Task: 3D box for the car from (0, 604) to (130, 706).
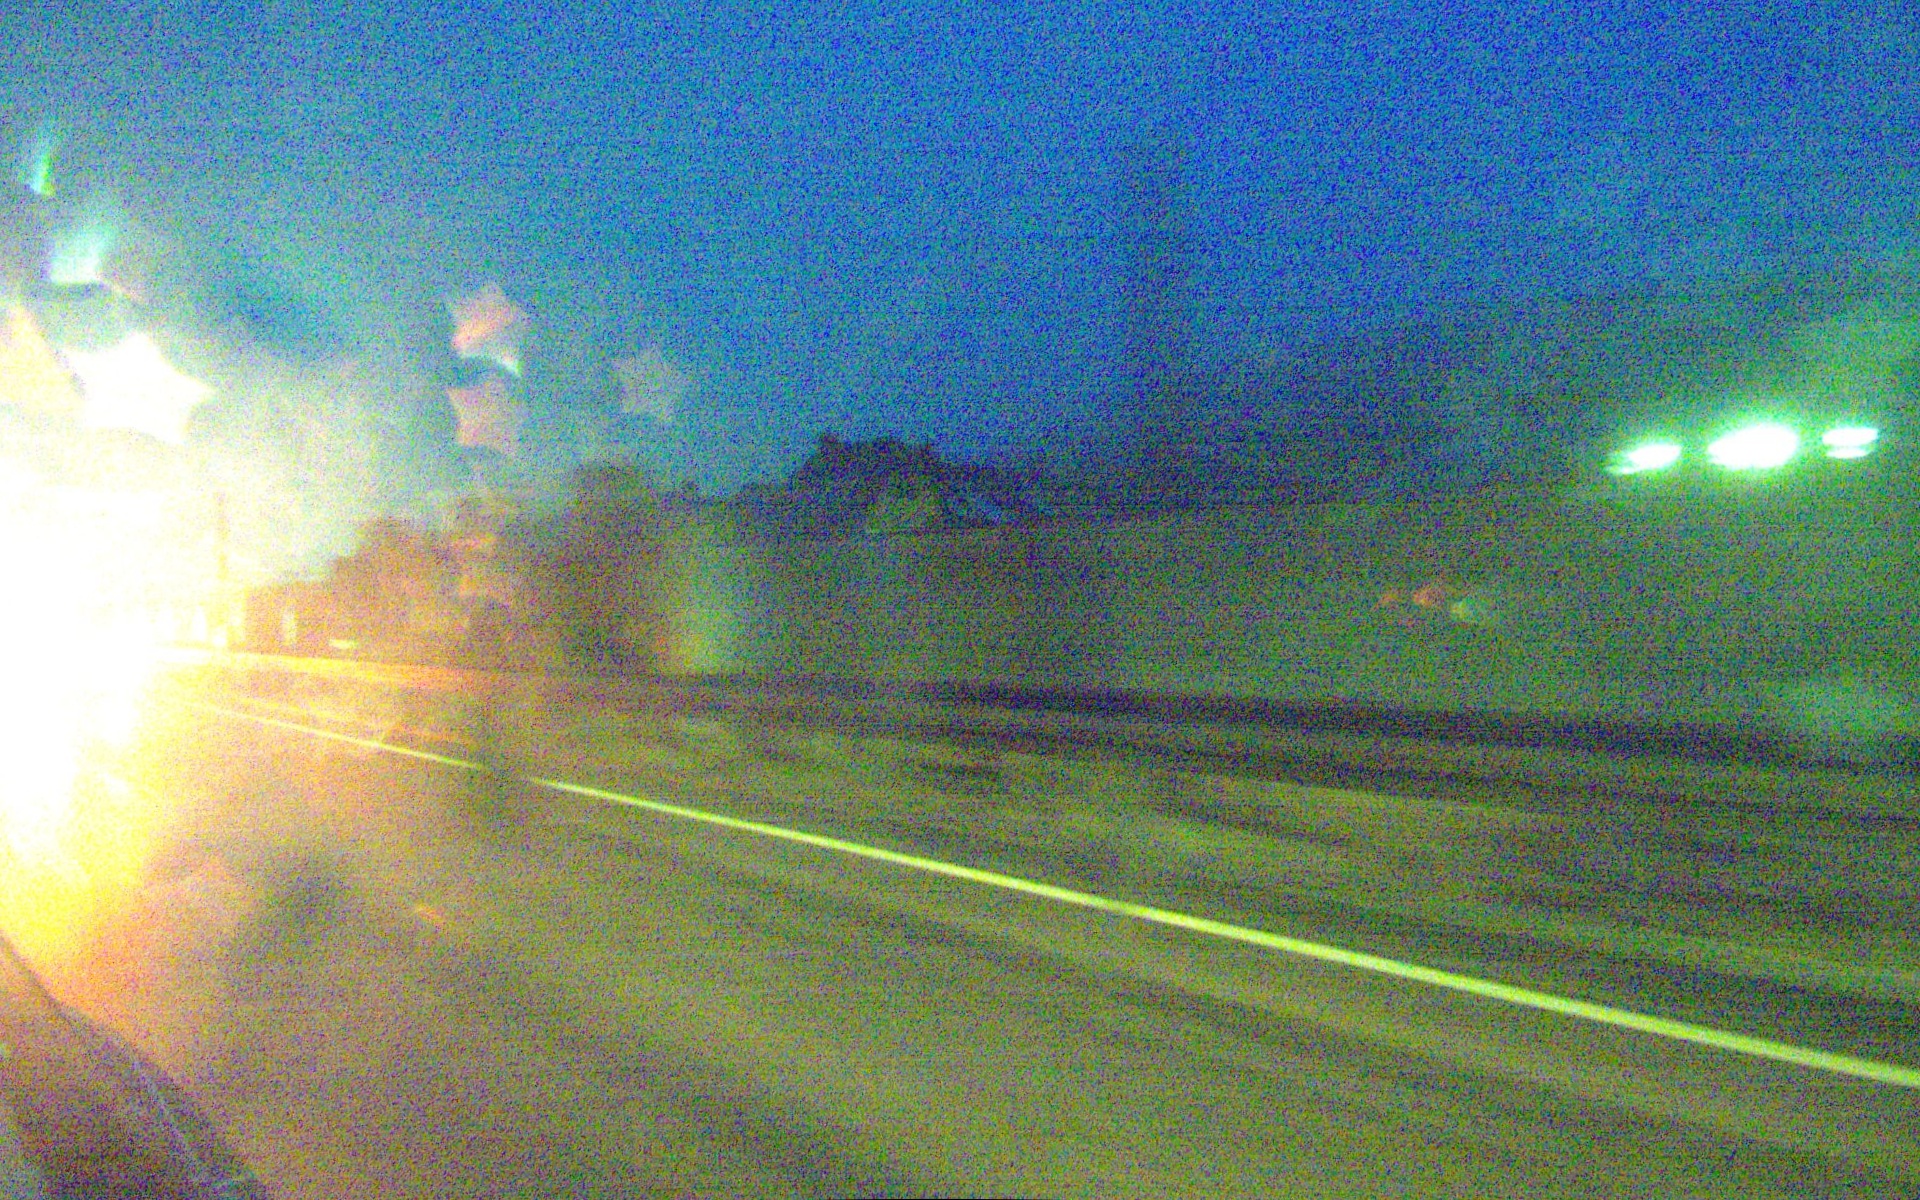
[{"bbox_3d":[-17.689,1.007,19.736,3.876,1.773,1.724,-2,-1,41],"label":"car"}]
